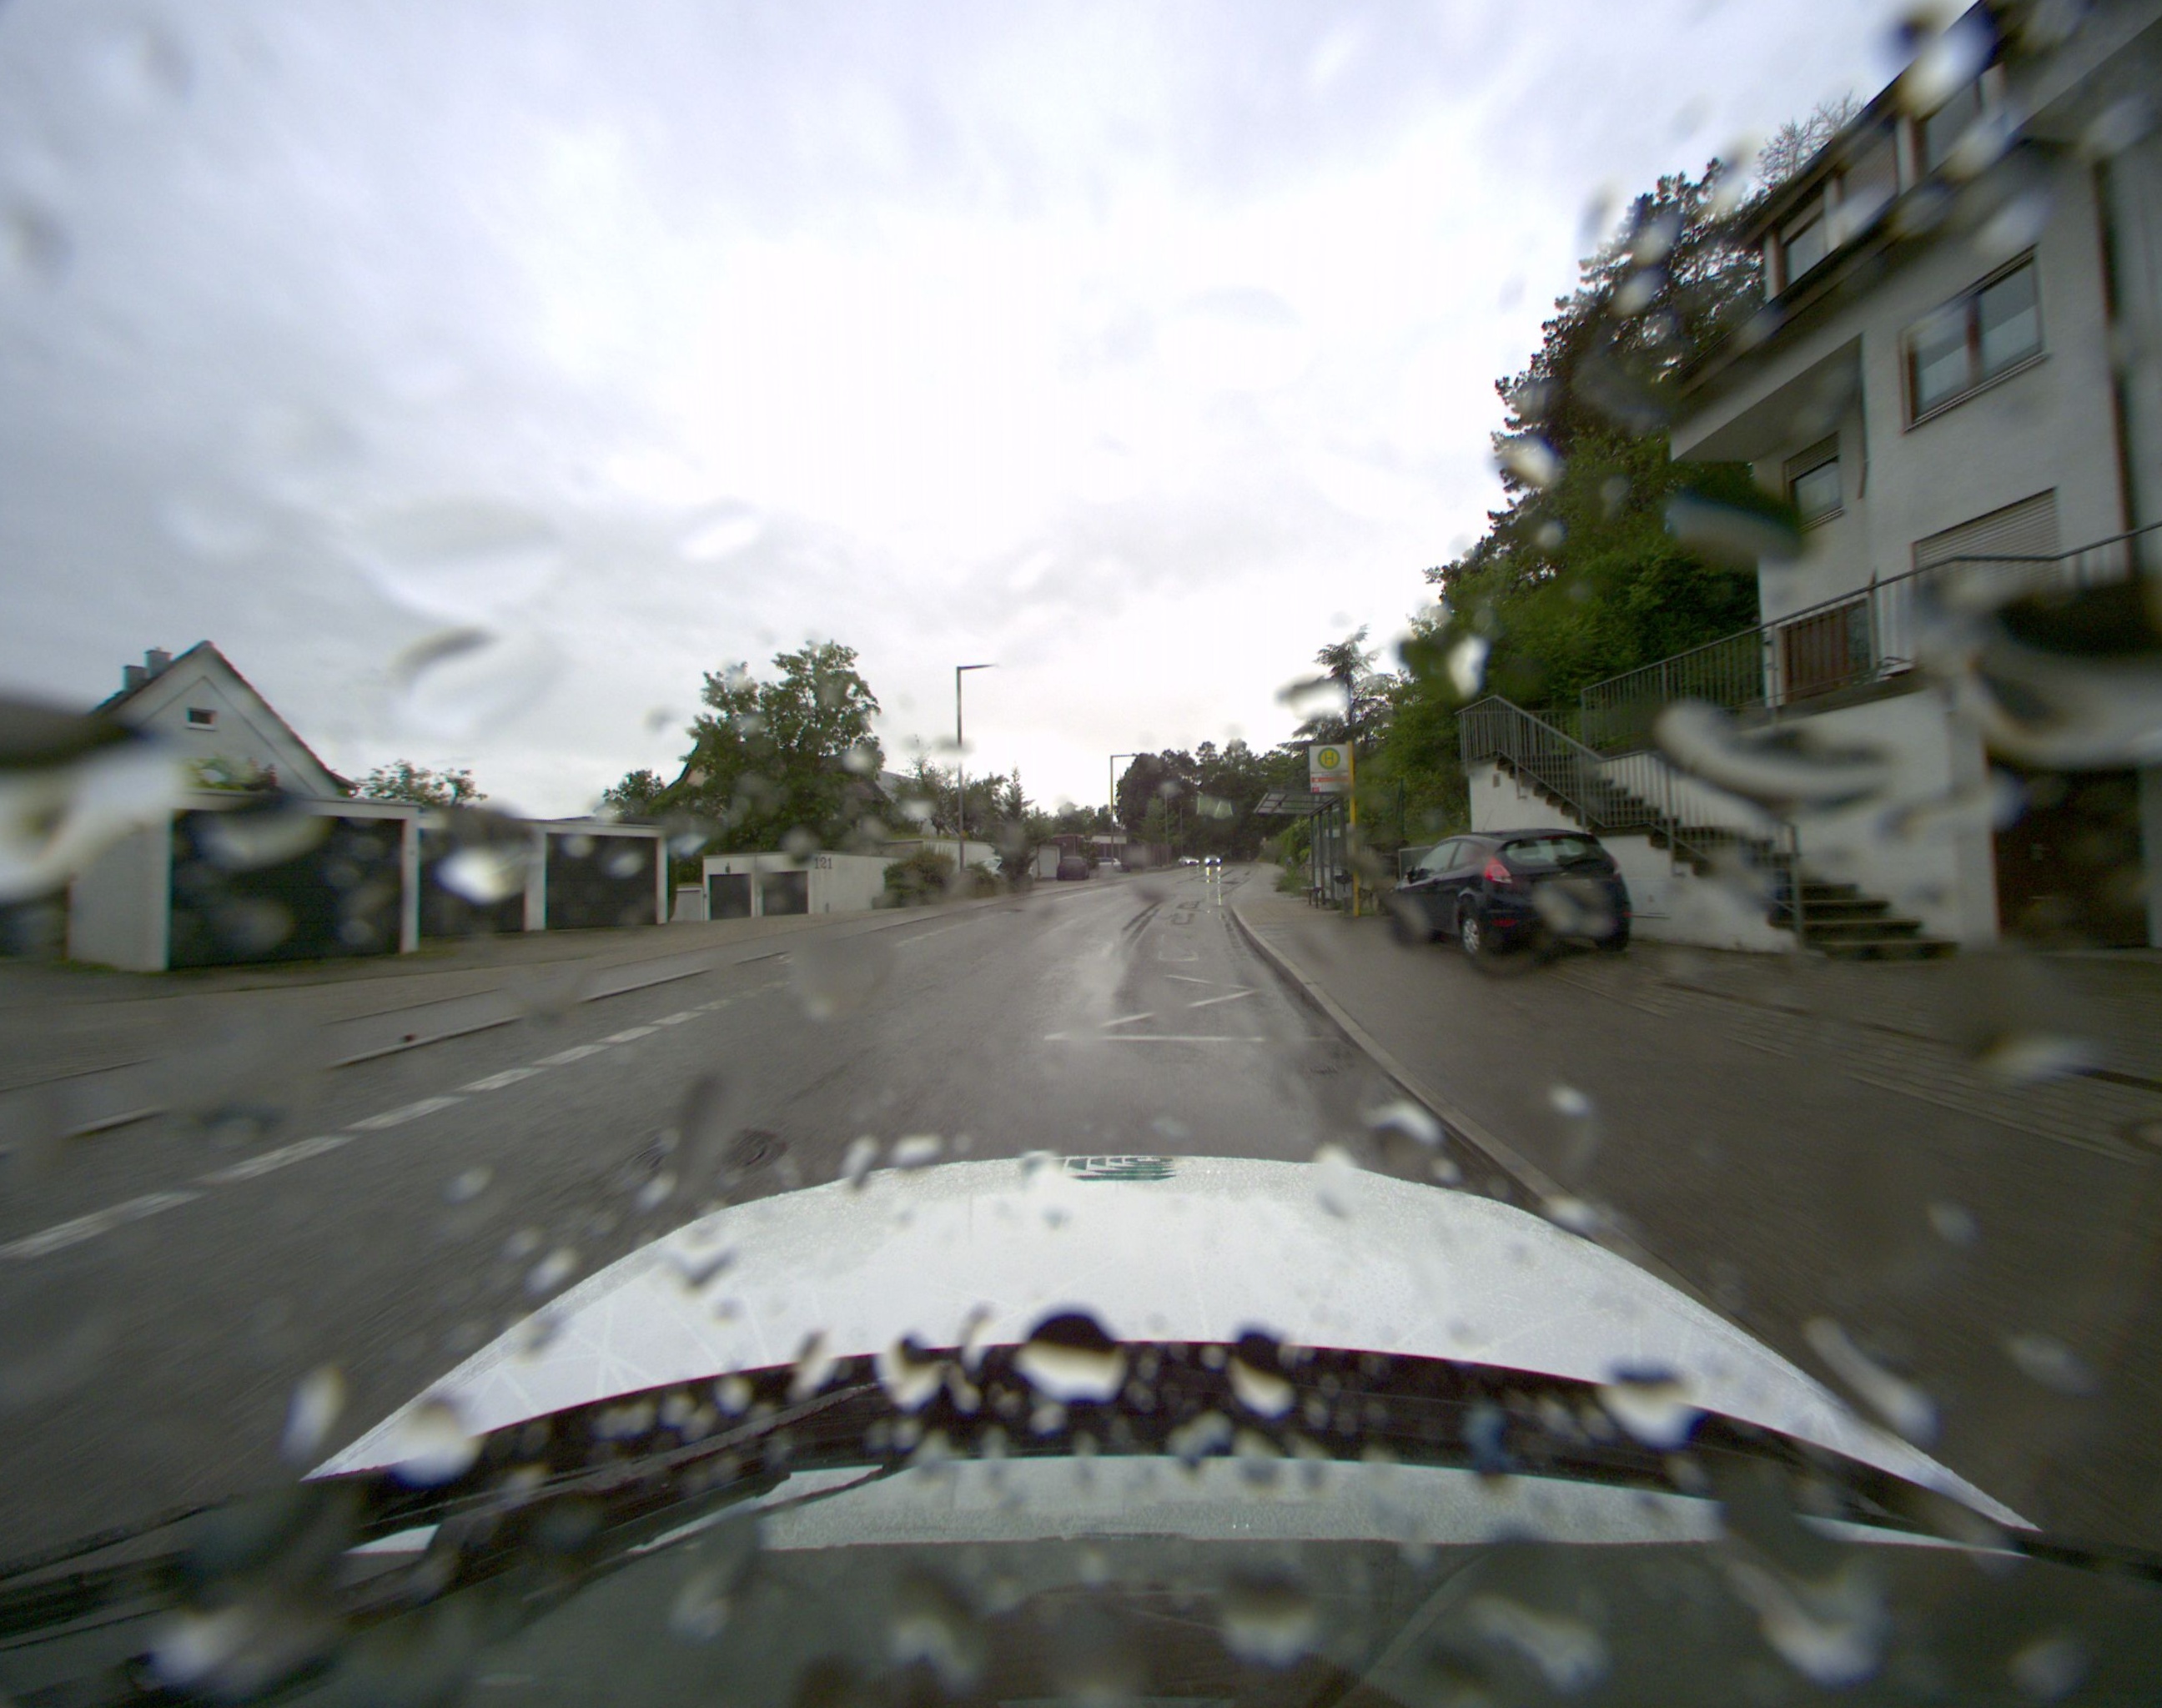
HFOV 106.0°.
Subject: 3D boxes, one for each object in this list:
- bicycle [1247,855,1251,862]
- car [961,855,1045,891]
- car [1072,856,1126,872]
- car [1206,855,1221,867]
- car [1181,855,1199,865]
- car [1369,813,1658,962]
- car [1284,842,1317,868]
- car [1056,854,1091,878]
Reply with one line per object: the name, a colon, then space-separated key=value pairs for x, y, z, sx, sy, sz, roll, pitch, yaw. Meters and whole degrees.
bicycle: x=24.765 y=0.666 z=120.013 sx=0.524 sy=1.085 sz=1.625 roll=-1 pitch=0 yaw=10
car: x=-3.538 y=0.831 z=37.723 sx=1.689 sy=1.553 sz=4.415 roll=-1 pitch=0 yaw=27
car: x=1.639 y=0.912 z=73.725 sx=4.542 sy=1.442 sz=1.746 roll=0 pitch=-1 yaw=-26
car: x=17.343 y=0.870 z=106.676 sx=1.841 sy=1.469 sz=3.706 roll=-1 pitch=0 yaw=6
car: x=16.600 y=0.960 z=123.982 sx=1.844 sy=1.460 sz=4.261 roll=-1 pitch=0 yaw=-5
car: x=5.273 y=0.367 z=10.606 sx=1.698 sy=1.454 sz=4.024 roll=-4 pitch=-1 yaw=3
car: x=16.032 y=0.055 z=59.690 sx=1.980 sy=1.670 sz=4.559 roll=-5 pitch=-1 yaw=12
car: x=-0.435 y=0.732 z=51.667 sx=1.825 sy=1.405 sz=4.265 roll=-1 pitch=0 yaw=4
